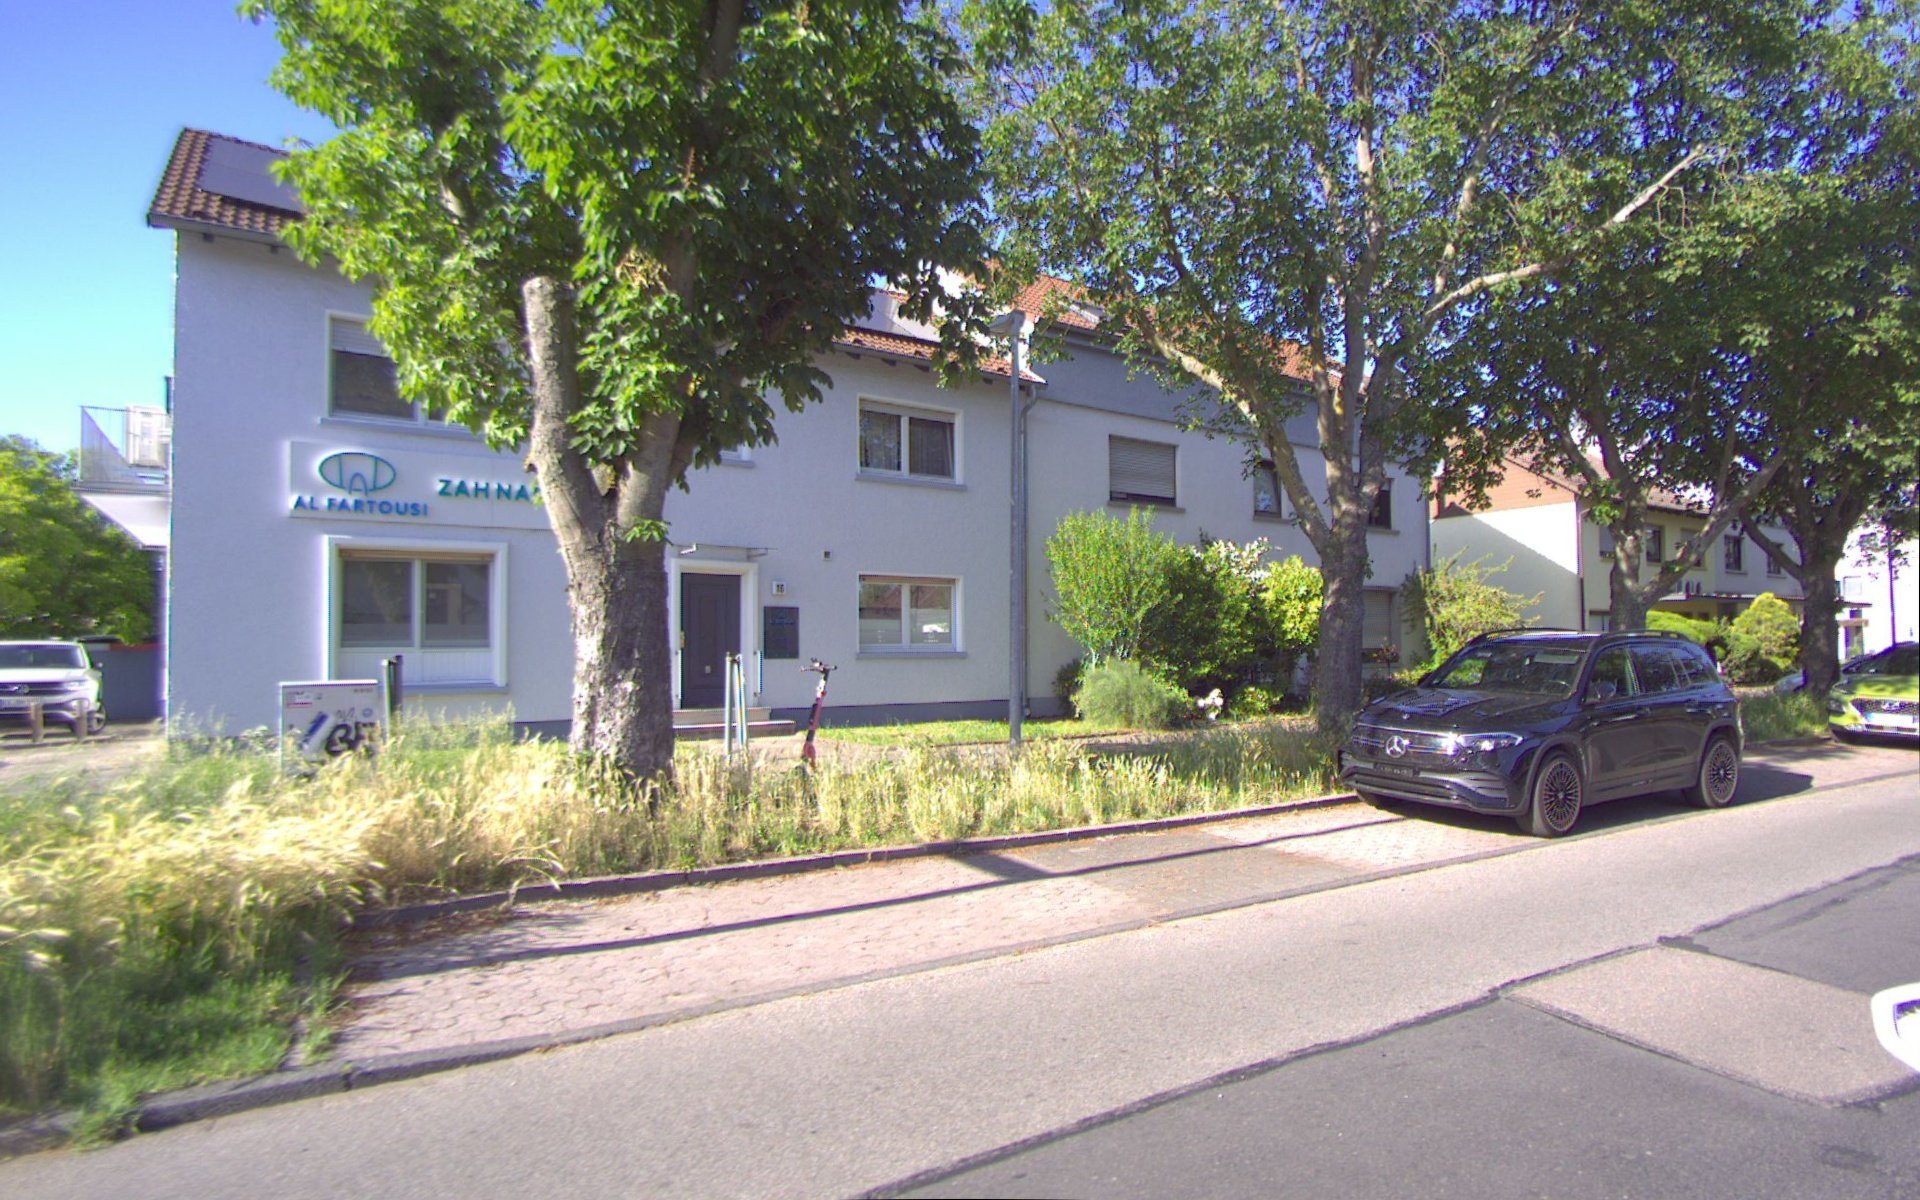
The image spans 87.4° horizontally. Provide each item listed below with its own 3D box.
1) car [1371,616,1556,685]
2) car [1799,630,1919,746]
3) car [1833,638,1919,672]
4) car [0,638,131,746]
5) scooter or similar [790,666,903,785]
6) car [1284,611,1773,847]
[{"bbox_3d":[13.974,1.349,28.096,1.981,1.737,4.205,-1,-1,-36],"label":"car"},{"bbox_3d":[15.283,1.336,15.772,4.333,1.630,1.929,2,-2,-31],"label":"car"},{"bbox_3d":[49.614,2.911,53.371,1.980,1.639,4.525,-1,-1,-35],"label":"car"},{"bbox_3d":[-15.347,1.547,16.755,1.980,1.575,4.473,0,-4,-35],"label":"car"},{"bbox_3d":[-1.030,1.122,9.201,0.988,1.014,0.333,1,-3,-36],"label":"scooter or similar"},{"bbox_3d":[5.504,1.054,9.542,4.819,1.749,1.944,2,-2,-31],"label":"car"}]
